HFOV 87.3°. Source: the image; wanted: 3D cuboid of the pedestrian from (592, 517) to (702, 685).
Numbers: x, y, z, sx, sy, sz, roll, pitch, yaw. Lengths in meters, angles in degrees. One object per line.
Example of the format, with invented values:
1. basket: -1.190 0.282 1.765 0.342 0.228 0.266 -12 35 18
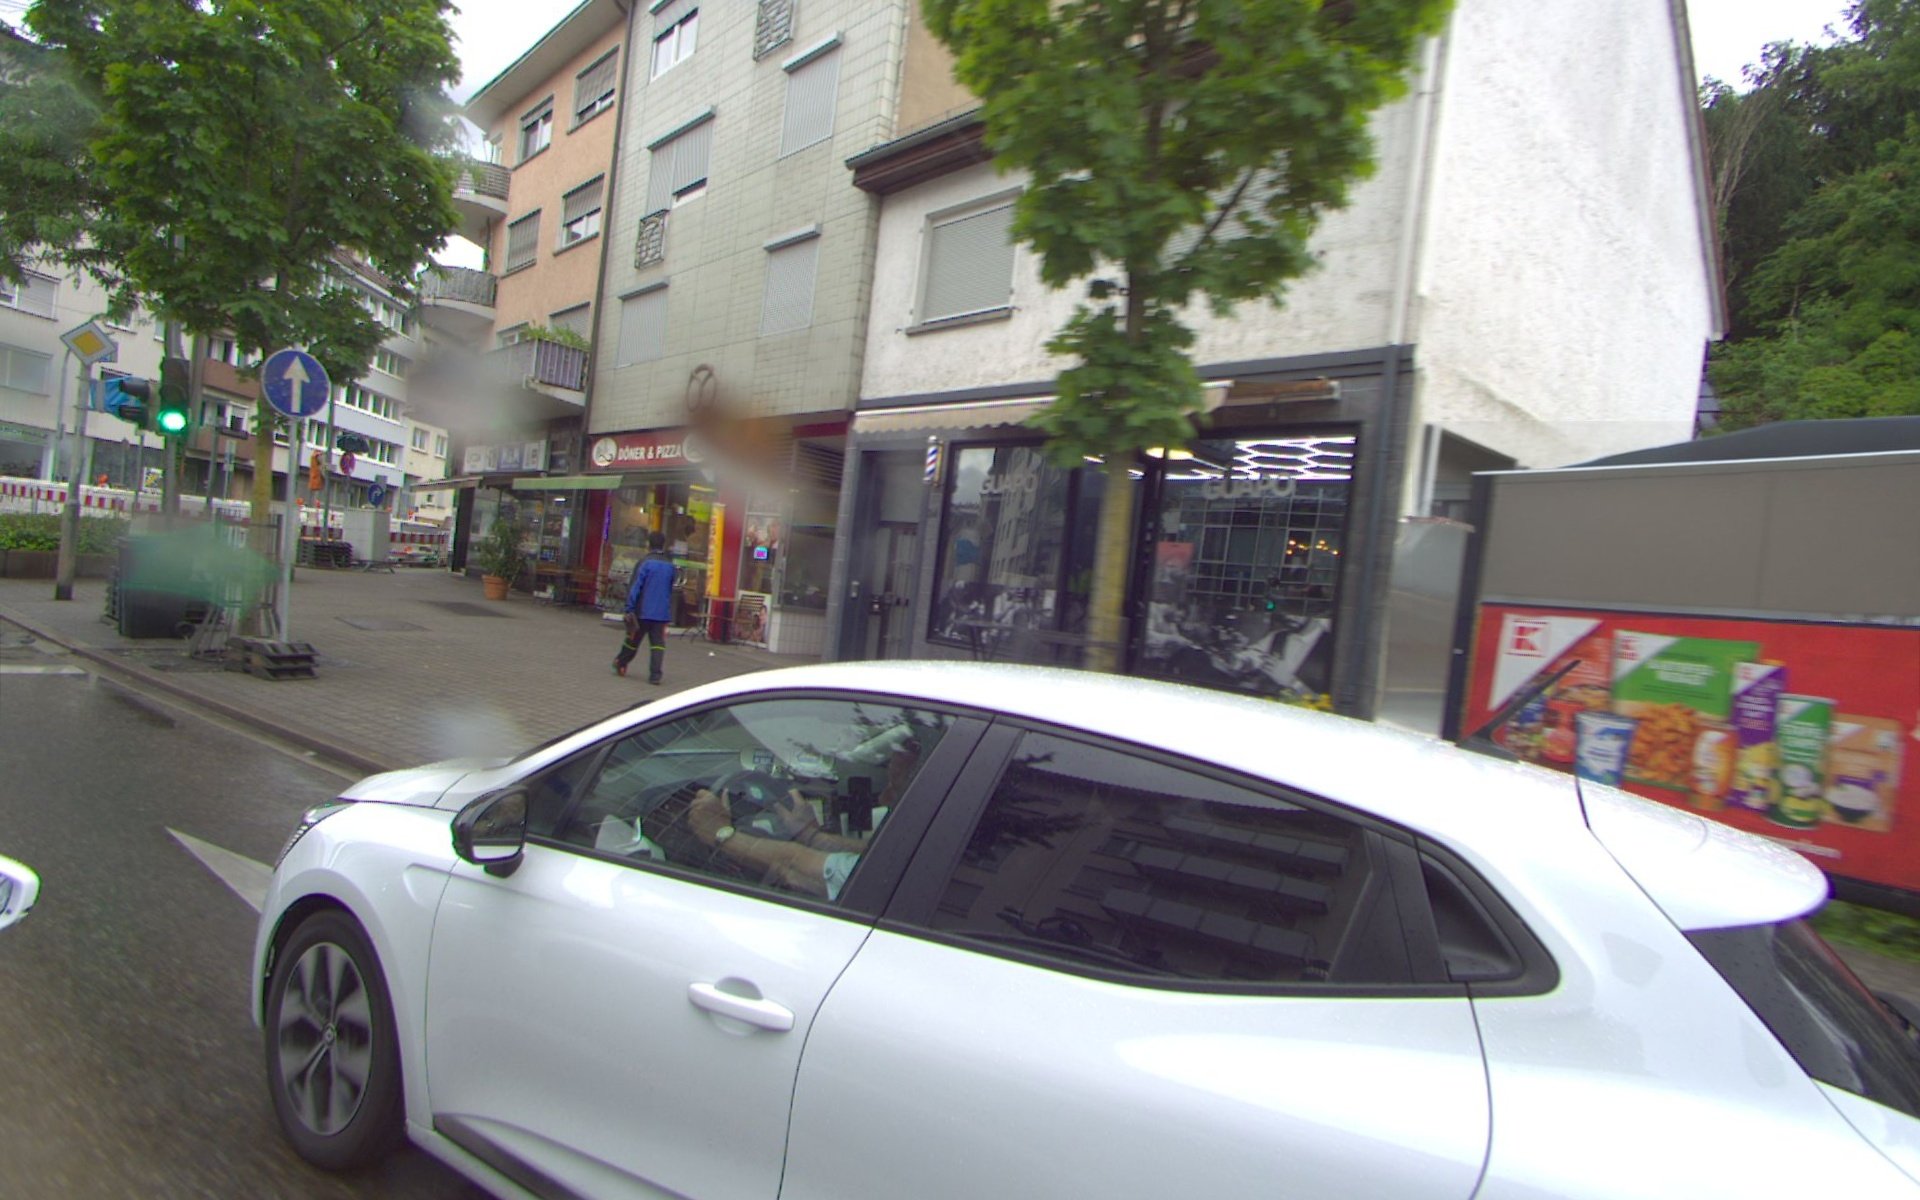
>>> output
1. pedestrian: -3.612 0.007 11.579 0.959 1.816 0.899 3 3 -29

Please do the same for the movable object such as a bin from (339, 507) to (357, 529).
1. movable object such as a bin: -33.078 -4.420 54.377 0.521 1.060 0.539 7 -1 0

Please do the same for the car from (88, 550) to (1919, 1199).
1. car: -0.396 0.789 2.633 3.933 1.422 1.677 7 2 31

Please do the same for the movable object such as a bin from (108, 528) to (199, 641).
1. movable object such as a bin: -8.700 -0.163 10.853 0.655 1.126 0.577 9 4 36

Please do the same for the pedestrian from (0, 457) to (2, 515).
1. pedestrian: -31.726 -3.756 32.521 0.647 1.904 0.990 4 2 -14
